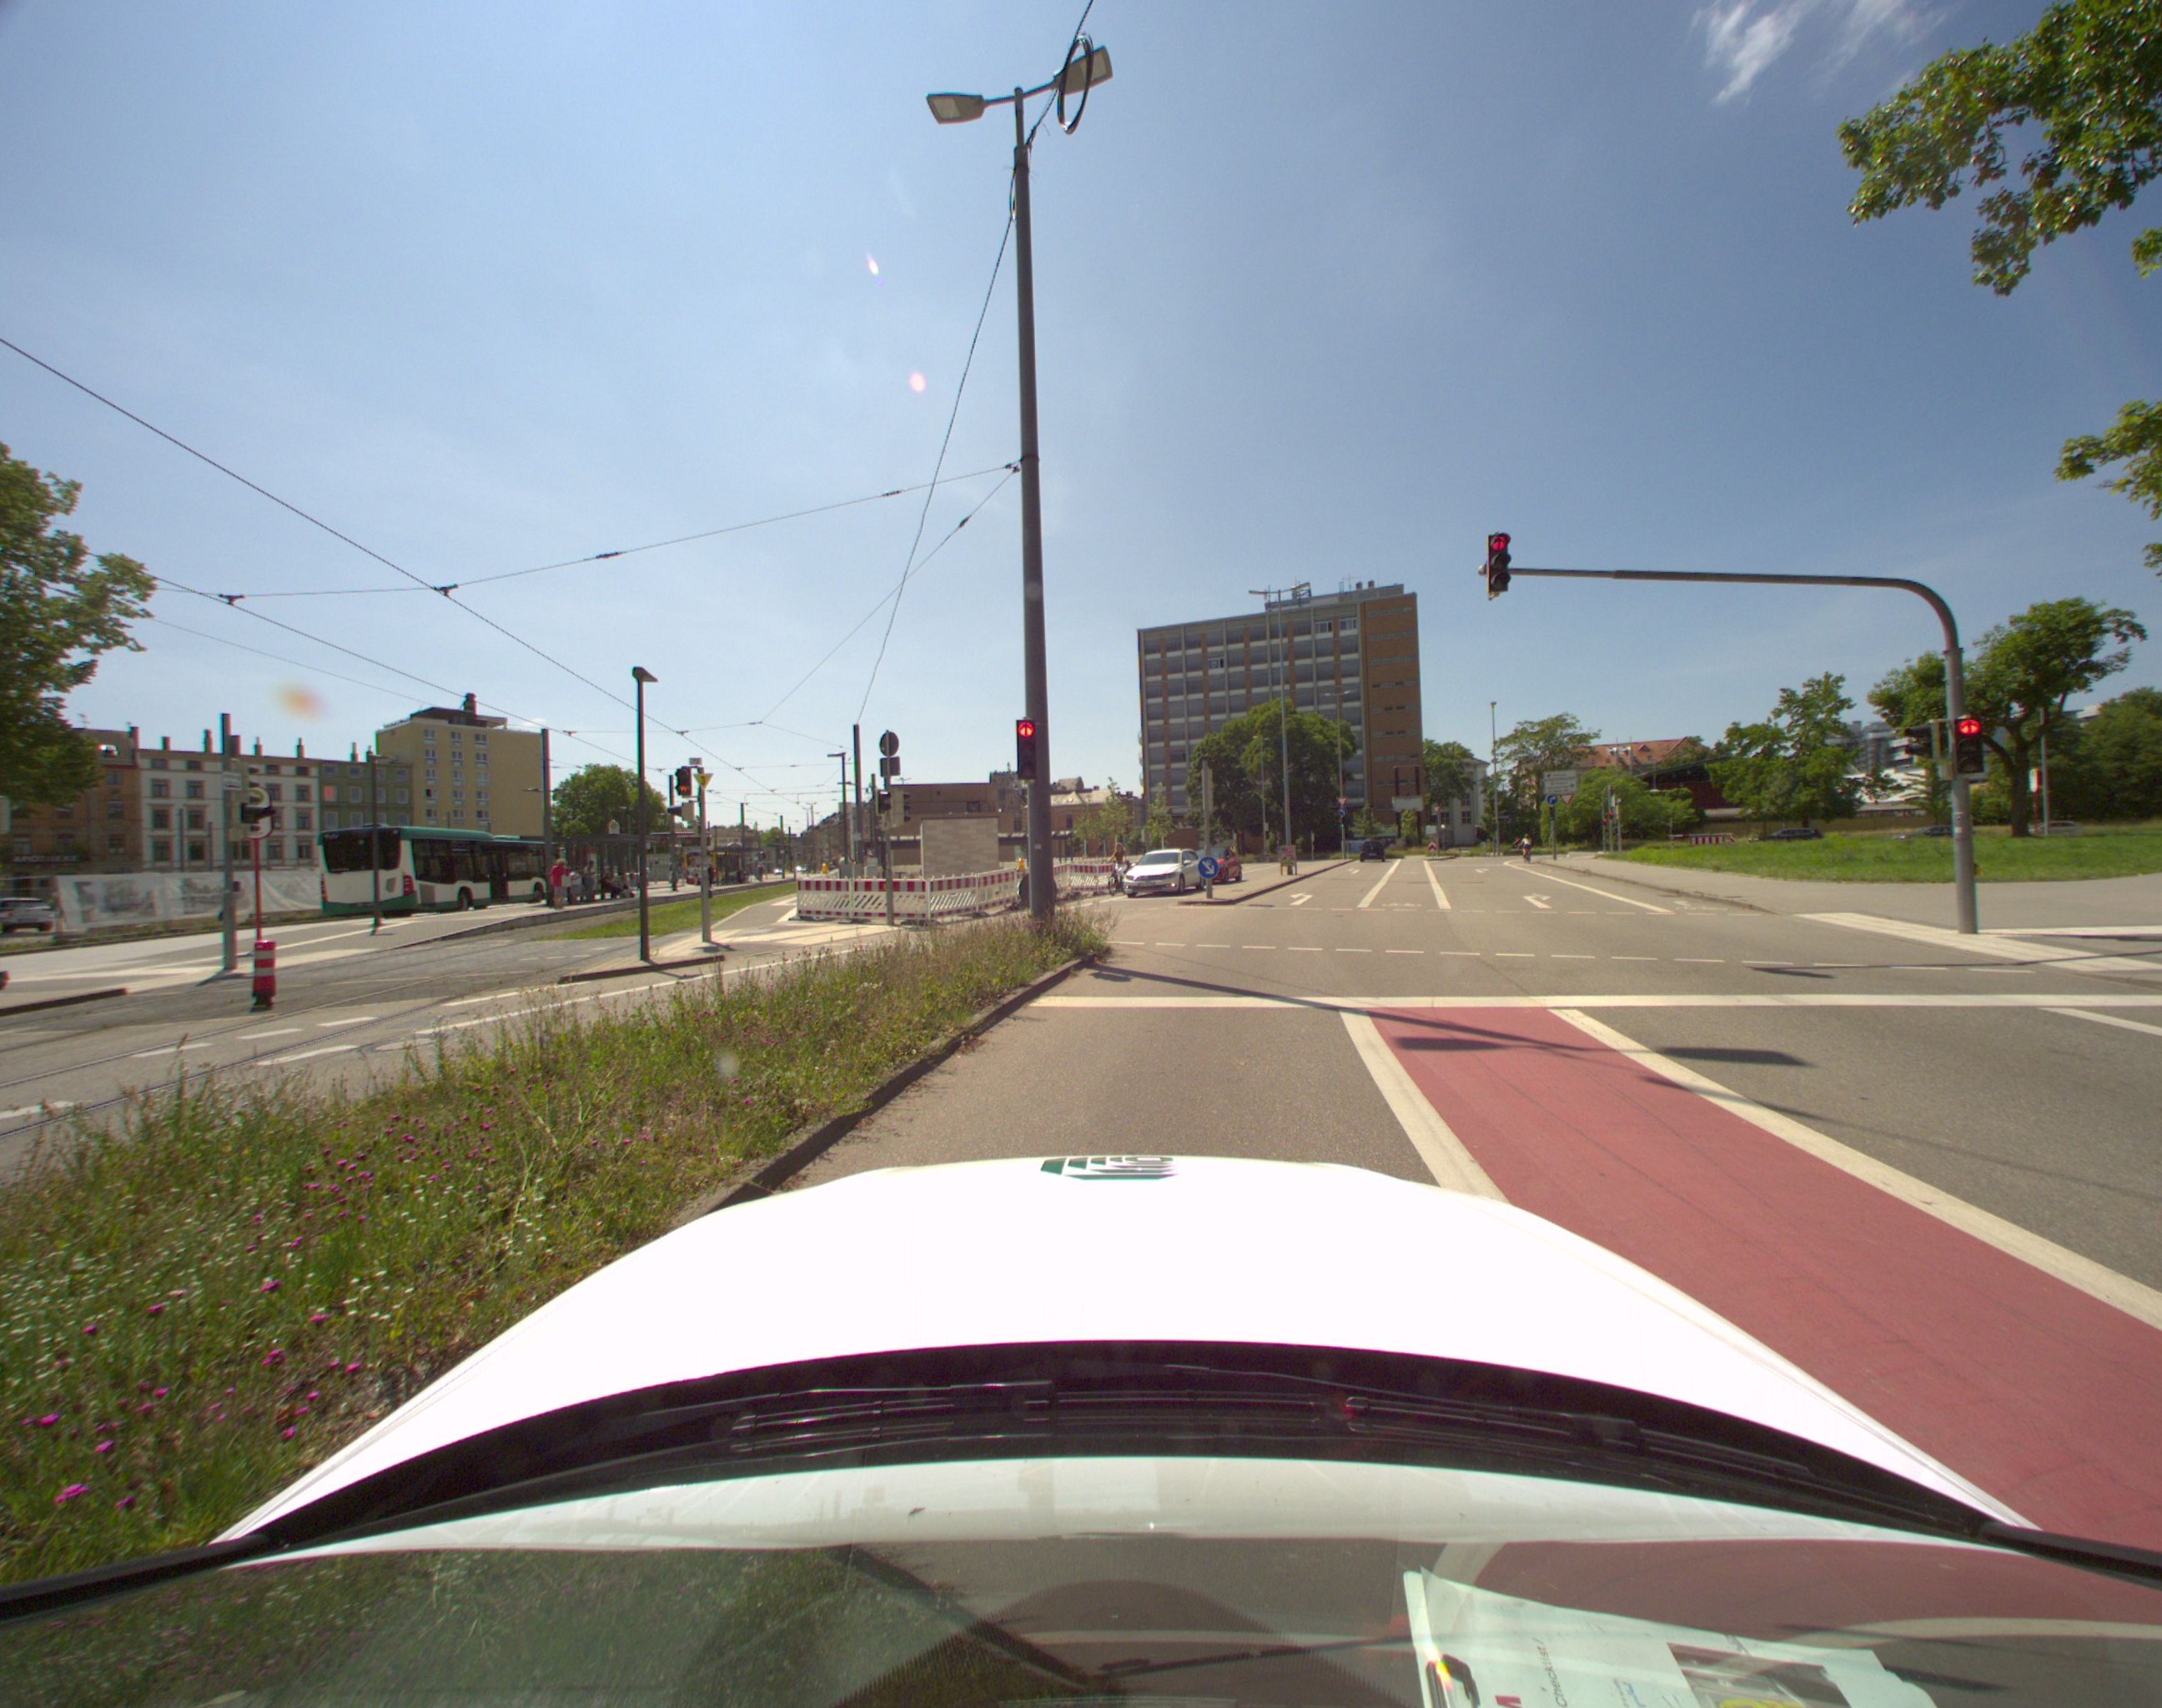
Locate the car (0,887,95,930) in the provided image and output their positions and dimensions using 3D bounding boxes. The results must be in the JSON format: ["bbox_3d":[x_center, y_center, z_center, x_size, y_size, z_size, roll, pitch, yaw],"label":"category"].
[{"bbox_3d":[-44.691,2.315,34.202,4.170,1.649,1.851,-2,0,-1],"label":"car"}]

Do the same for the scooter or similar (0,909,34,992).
[{"bbox_3d":[-16.262,1.464,12.006,0.319,1.206,1.241,-2,0,-17],"label":"scooter or similar"}]

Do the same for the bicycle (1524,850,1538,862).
[{"bbox_3d":[26.187,0.119,47.400,0.373,0.646,1.655,-3,0,39],"label":"bicycle"}]

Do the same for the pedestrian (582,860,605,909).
[{"bbox_3d":[-21.220,1.308,35.438,0.702,2.096,0.640,-2,0,-24],"label":"pedestrian"}]

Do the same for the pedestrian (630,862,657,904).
[{"bbox_3d":[-22.886,1.496,42.605,0.898,2.096,0.829,-2,0,-8],"label":"pedestrian"}]

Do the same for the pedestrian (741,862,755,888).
[{"bbox_3d":[-27.390,1.734,66.987,0.830,2.096,0.898,-2,0,-13],"label":"pedestrian"}]

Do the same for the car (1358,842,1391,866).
[{"bbox_3d":[20.345,-0.001,56.515,1.677,1.527,3.703,-3,0,13],"label":"car"}]

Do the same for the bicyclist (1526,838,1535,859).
[{"bbox_3d":[26.166,-0.317,47.405,0.348,1.227,0.567,-3,0,38],"label":"bicyclist"}]

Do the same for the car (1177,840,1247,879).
[{"bbox_3d":[5.420,0.203,33.358,1.715,1.425,4.147,-3,-1,24],"label":"car"}]

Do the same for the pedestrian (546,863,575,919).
[{"bbox_3d":[-17.996,1.267,28.160,0.675,1.909,0.636,-2,0,-22],"label":"pedestrian"}]

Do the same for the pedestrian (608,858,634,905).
[{"bbox_3d":[-21.141,1.252,37.455,0.903,2.096,0.825,-2,0,-24],"label":"pedestrian"}]

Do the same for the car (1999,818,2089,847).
[{"bbox_3d":[70.338,-1.555,59.562,3.950,1.871,1.478,-3,-1,25],"label":"car"}]

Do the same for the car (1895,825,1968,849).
[{"bbox_3d":[64.706,-1.294,62.019,3.515,1.628,1.394,-2,0,24],"label":"car"}]

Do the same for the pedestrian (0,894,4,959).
[{"bbox_3d":[-26.703,1.781,19.524,0.604,1.602,0.825,-2,0,-2],"label":"pedestrian"}]

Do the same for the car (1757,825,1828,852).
[{"bbox_3d":[56.757,-1.215,65.039,3.950,2.014,1.478,-3,-1,25],"label":"car"}]

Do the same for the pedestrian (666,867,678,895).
[{"bbox_3d":[-31.351,2.062,62.423,0.710,2.111,0.649,-2,0,-37],"label":"pedestrian"}]

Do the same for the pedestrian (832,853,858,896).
[{"bbox_3d":[-10.389,0.897,35.841,0.721,1.864,0.772,-3,-2,37],"label":"pedestrian"}]

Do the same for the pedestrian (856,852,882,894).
[{"bbox_3d":[-9.656,0.868,37.059,0.982,1.832,0.628,-2,0,-27],"label":"pedestrian"}]

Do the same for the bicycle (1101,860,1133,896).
[{"bbox_3d":[1.261,0.807,28.117,0.394,1.174,1.781,-2,0,25],"label":"bicycle"}]

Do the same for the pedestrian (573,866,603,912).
[{"bbox_3d":[-20.570,1.439,34.001,0.915,1.851,0.653,-2,0,-22],"label":"pedestrian"}]

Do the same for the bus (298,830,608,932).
[{"bbox_3d":[-25.177,0.916,34.859,3.012,3.158,17.427,-2,0,-11],"label":"bus"}]

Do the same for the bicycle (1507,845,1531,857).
[{"bbox_3d":[43.413,-0.325,80.748,1.987,1.135,0.578,-3,-2,34],"label":"bicycle"}]

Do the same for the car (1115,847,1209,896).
[{"bbox_3d":[2.841,0.546,27.350,1.977,1.438,4.729,-3,-1,20],"label":"car"}]

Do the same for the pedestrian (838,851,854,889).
[{"bbox_3d":[-12.170,0.853,42.208,0.721,1.923,1.068,-2,-1,-17],"label":"pedestrian"}]

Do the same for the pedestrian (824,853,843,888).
[{"bbox_3d":[-12.385,0.845,40.699,0.731,1.707,0.736,-1,-2,-29],"label":"pedestrian"}]

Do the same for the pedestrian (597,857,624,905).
[{"bbox_3d":[-21.152,1.211,36.608,0.903,2.096,0.825,-2,0,-24],"label":"pedestrian"}]

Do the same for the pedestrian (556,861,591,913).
[{"bbox_3d":[-20.298,1.303,32.598,0.945,1.990,1.021,-2,0,-22],"label":"pedestrian"}]

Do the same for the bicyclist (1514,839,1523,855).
[{"bbox_3d":[43.414,-0.684,80.778,0.677,1.488,0.789,-3,-2,33],"label":"bicyclist"}]

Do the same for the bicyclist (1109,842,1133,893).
[{"bbox_3d":[1.391,0.463,28.280,0.561,1.719,0.510,-3,0,29],"label":"bicyclist"}]

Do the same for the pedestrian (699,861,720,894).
[{"bbox_3d":[-23.629,1.486,51.791,0.898,2.096,0.829,-2,0,-8],"label":"pedestrian"}]
